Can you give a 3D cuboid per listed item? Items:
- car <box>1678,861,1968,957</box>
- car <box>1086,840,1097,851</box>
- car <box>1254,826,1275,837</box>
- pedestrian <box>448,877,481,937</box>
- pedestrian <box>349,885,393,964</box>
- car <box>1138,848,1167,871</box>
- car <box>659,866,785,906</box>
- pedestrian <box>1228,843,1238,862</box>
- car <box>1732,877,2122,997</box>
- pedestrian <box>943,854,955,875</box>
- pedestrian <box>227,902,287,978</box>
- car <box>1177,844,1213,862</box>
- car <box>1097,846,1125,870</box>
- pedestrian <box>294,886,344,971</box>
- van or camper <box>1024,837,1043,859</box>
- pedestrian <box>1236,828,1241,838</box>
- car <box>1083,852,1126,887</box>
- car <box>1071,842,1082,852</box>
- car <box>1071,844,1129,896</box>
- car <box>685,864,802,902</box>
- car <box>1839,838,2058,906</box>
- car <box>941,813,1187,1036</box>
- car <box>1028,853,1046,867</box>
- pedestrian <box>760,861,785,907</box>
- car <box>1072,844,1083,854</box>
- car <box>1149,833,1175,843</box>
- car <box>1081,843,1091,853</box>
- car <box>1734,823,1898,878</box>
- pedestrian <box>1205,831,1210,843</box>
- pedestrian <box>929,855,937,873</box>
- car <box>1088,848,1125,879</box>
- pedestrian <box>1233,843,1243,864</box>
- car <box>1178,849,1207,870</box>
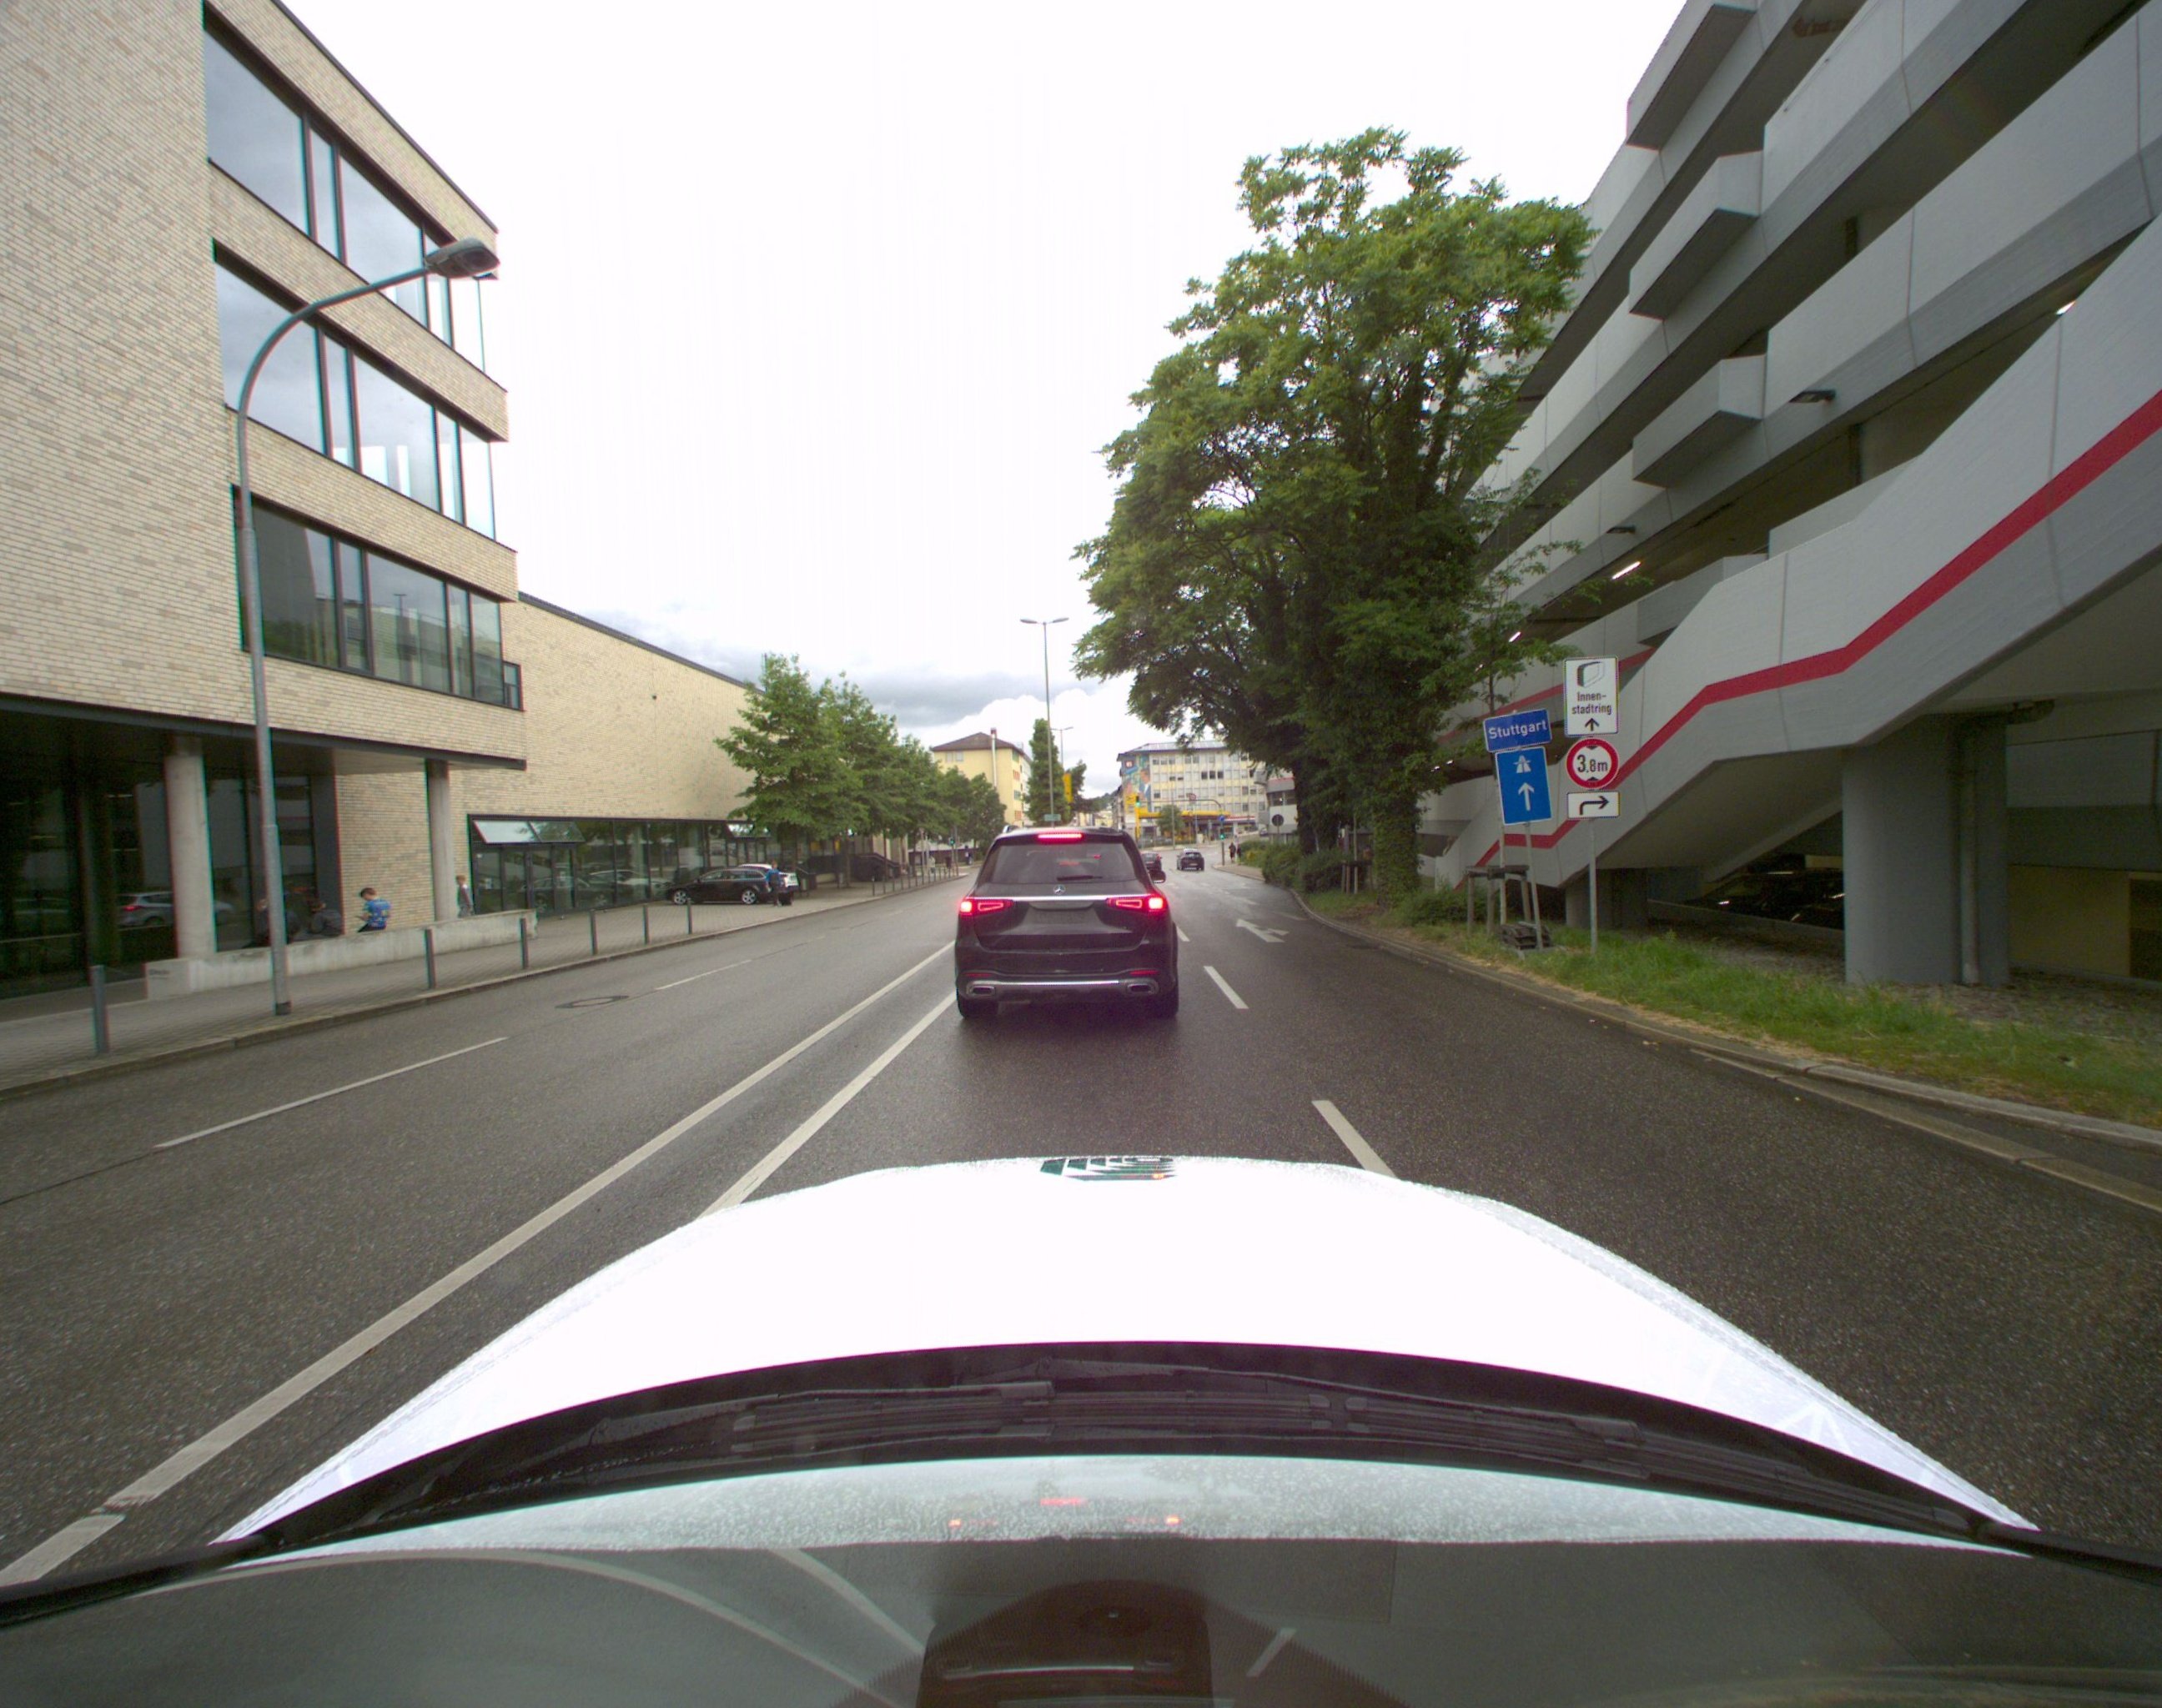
[{"bbox_3d":[13.887,1.004,15.460,3.713,1.540,1.815,-1,3,7],"label":"car"},{"bbox_3d":[2.063,-1.540,154.492,1.985,2.014,4.003,0,-1,3],"label":"car"},{"bbox_3d":[31.089,-3.820,137.805,1.974,1.705,4.026,-2,1,35],"label":"car"},{"bbox_3d":[-15.475,1.323,20.454,0.440,1.475,0.528,0,-1,-3],"label":"pedestrian"},{"bbox_3d":[-13.645,1.337,15.660,0.448,1.475,0.463,0,-1,-4],"label":"pedestrian"},{"bbox_3d":[4.967,0.361,57.022,1.789,1.525,4.058,0,1,2],"label":"car"},{"bbox_3d":[-14.354,1.256,32.744,4.169,1.495,1.997,0,-1,-5],"label":"car"},{"bbox_3d":[13.319,-0.132,71.444,0.716,1.690,0.455,0,-1,-5],"label":"pedestrian"},{"bbox_3d":[12.942,1.237,12.720,3.966,1.624,1.842,-1,0,6],"label":"car"},{"bbox_3d":[-10.786,0.868,66.492,0.948,1.704,0.709,0,-1,-16],"label":"pedestrian"},{"bbox_3d":[-13.592,1.410,13.438,0.546,1.215,0.422,0,-1,4],"label":"pedestrian"},{"bbox_3d":[10.030,-0.052,71.629,1.737,1.549,4.025,-1,-1,30],"label":"car"},{"bbox_3d":[2.092,0.279,57.014,1.900,1.586,4.001,0,0,2],"label":"car"},{"bbox_3d":[-13.527,1.308,14.461,0.448,1.475,0.463,0,-1,-4],"label":"pedestrian"},{"bbox_3d":[-6.064,-0.710,104.917,2.096,2.582,5.904,-4,0,-1],"label":"van or camper"},{"bbox_3d":[26.390,-3.478,136.306,0.521,1.727,0.693,-2,1,28],"label":"pedestrian"},{"bbox_3d":[1.104,0.705,37.835,1.900,1.501,4.001,0,0,2],"label":"car"},{"bbox_3d":[-0.911,-1.413,167.694,1.985,2.014,4.003,0,-1,3],"label":"car"},{"bbox_3d":[0.714,0.570,30.266,1.986,1.800,4.001,0,-1,2],"label":"car"},{"bbox_3d":[-14.451,1.231,35.051,4.158,1.547,2.002,0,-1,3],"label":"car"},{"bbox_3d":[24.798,0.501,23.454,3.958,1.783,1.823,-2,0,14],"label":"car"},{"bbox_3d":[-0.075,0.587,8.610,1.986,1.800,4.001,0,-1,2],"label":"car"},{"bbox_3d":[-4.997,0.673,93.192,1.735,1.470,3.882,-4,0,0],"label":"car"},{"bbox_3d":[-11.496,1.106,30.379,0.632,1.714,0.705,0,-1,4],"label":"pedestrian"},{"bbox_3d":[-0.576,-0.902,140.699,1.900,1.703,3.998,0,-1,-1],"label":"car"},{"bbox_3d":[12.785,-2.527,128.489,1.747,1.376,3.952,-4,1,-42],"label":"car"},{"bbox_3d":[1.122,-1.311,182.538,1.985,2.014,4.003,0,-1,3],"label":"car"},{"bbox_3d":[26.209,-0.121,29.208,3.958,1.783,1.823,-2,0,14],"label":"car"},{"bbox_3d":[18.648,-2.536,120.099,0.570,1.697,0.631,0,-1,3],"label":"pedestrian"},{"bbox_3d":[-13.712,0.888,75.372,0.641,1.665,1.017,0,-1,-4],"label":"pedestrian"},{"bbox_3d":[1.375,0.502,44.391,1.900,1.586,4.001,0,0,2],"label":"car"},{"bbox_3d":[12.603,-0.046,65.302,0.639,1.710,0.474,-2,-1,38],"label":"pedestrian"},{"bbox_3d":[8.220,0.389,60.467,1.937,1.486,4.005,0,0,5],"label":"car"}]
